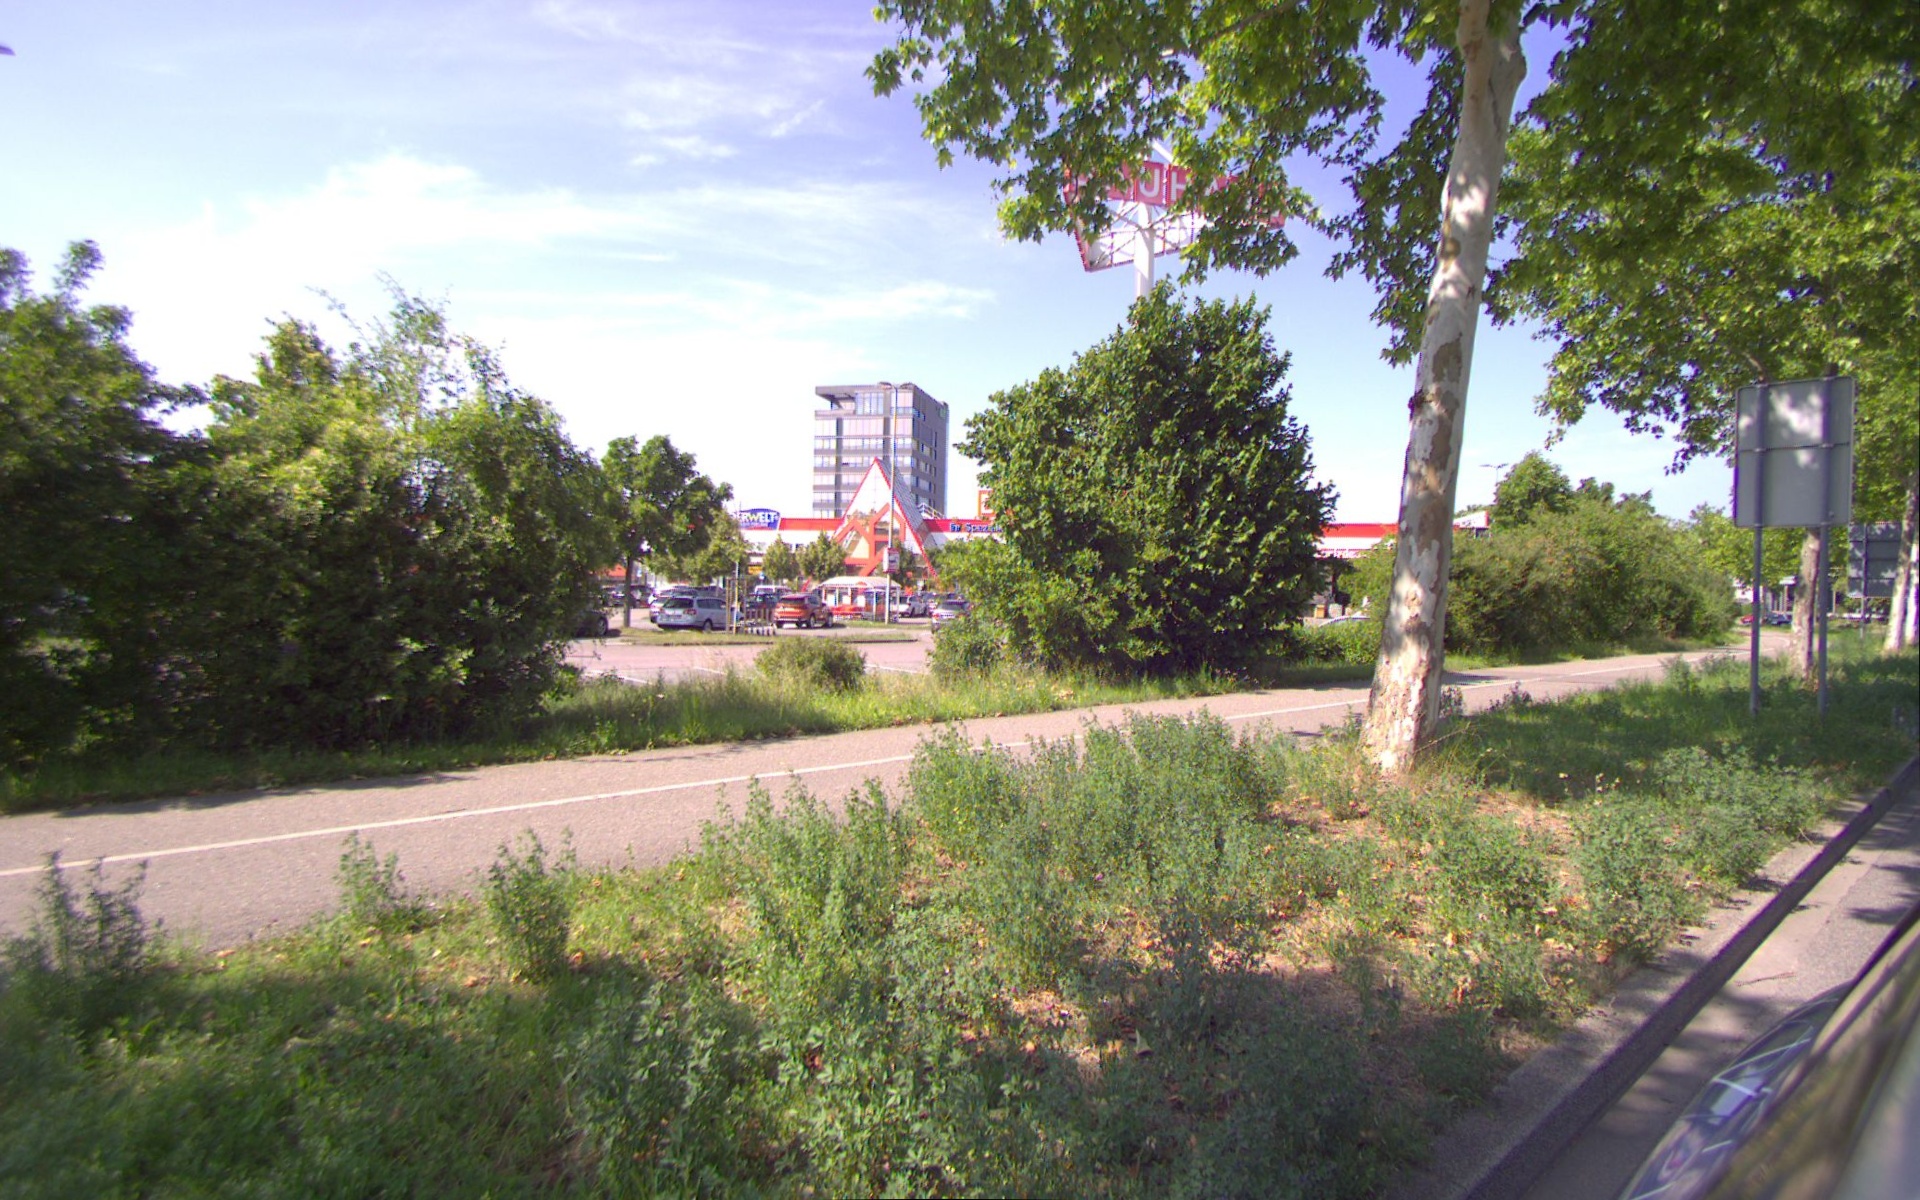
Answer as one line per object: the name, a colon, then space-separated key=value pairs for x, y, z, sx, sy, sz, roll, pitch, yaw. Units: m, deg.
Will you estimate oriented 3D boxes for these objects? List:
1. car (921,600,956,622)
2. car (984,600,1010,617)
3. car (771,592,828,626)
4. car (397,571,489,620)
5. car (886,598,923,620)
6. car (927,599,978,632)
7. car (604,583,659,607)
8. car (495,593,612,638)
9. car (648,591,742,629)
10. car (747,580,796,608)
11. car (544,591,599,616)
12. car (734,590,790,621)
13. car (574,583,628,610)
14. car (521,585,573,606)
car: x=-1.364 y=0.677 z=65.738 sx=1.545 sy=1.397 sz=3.606 roll=0 pitch=0 yaw=11
car: x=3.046 y=0.697 z=83.158 sx=1.545 sy=1.397 sz=3.606 roll=0 pitch=0 yaw=11
car: x=-7.694 y=0.422 z=48.798 sx=1.654 sy=1.565 sz=3.778 roll=0 pitch=0 yaw=9
car: x=-31.985 y=-0.292 z=62.818 sx=2.270 sy=2.889 sz=5.266 roll=0 pitch=0 yaw=11
car: x=-3.545 y=0.574 z=65.663 sx=1.545 sy=1.397 sz=3.606 roll=0 pitch=0 yaw=11
car: x=-0.317 y=0.693 z=47.280 sx=1.752 sy=1.505 sz=3.778 roll=0 pitch=0 yaw=9
car: x=-22.975 y=-0.352 z=70.928 sx=1.973 sy=1.631 sz=4.043 roll=0 pitch=0 yaw=11
car: x=-13.354 y=0.485 z=33.480 sx=1.425 sy=1.371 sz=3.978 roll=1 pitch=0 yaw=17
car: x=-9.910 y=0.408 z=38.152 sx=1.759 sy=1.289 sz=3.806 roll=0 pitch=-2 yaw=15
car: x=-12.773 y=-0.372 z=68.861 sx=1.973 sy=1.834 sz=4.043 roll=0 pitch=0 yaw=11
car: x=-22.883 y=0.193 z=59.690 sx=1.534 sy=1.444 sz=3.332 roll=0 pitch=0 yaw=11
car: x=-10.862 y=0.302 z=55.651 sx=1.745 sy=1.625 sz=3.732 roll=0 pitch=0 yaw=11
car: x=-25.487 y=-0.266 z=72.010 sx=1.860 sy=1.868 sz=4.043 roll=0 pitch=0 yaw=11
car: x=-29.834 y=-0.346 z=73.224 sx=1.507 sy=1.455 sz=3.847 roll=0 pitch=0 yaw=13
